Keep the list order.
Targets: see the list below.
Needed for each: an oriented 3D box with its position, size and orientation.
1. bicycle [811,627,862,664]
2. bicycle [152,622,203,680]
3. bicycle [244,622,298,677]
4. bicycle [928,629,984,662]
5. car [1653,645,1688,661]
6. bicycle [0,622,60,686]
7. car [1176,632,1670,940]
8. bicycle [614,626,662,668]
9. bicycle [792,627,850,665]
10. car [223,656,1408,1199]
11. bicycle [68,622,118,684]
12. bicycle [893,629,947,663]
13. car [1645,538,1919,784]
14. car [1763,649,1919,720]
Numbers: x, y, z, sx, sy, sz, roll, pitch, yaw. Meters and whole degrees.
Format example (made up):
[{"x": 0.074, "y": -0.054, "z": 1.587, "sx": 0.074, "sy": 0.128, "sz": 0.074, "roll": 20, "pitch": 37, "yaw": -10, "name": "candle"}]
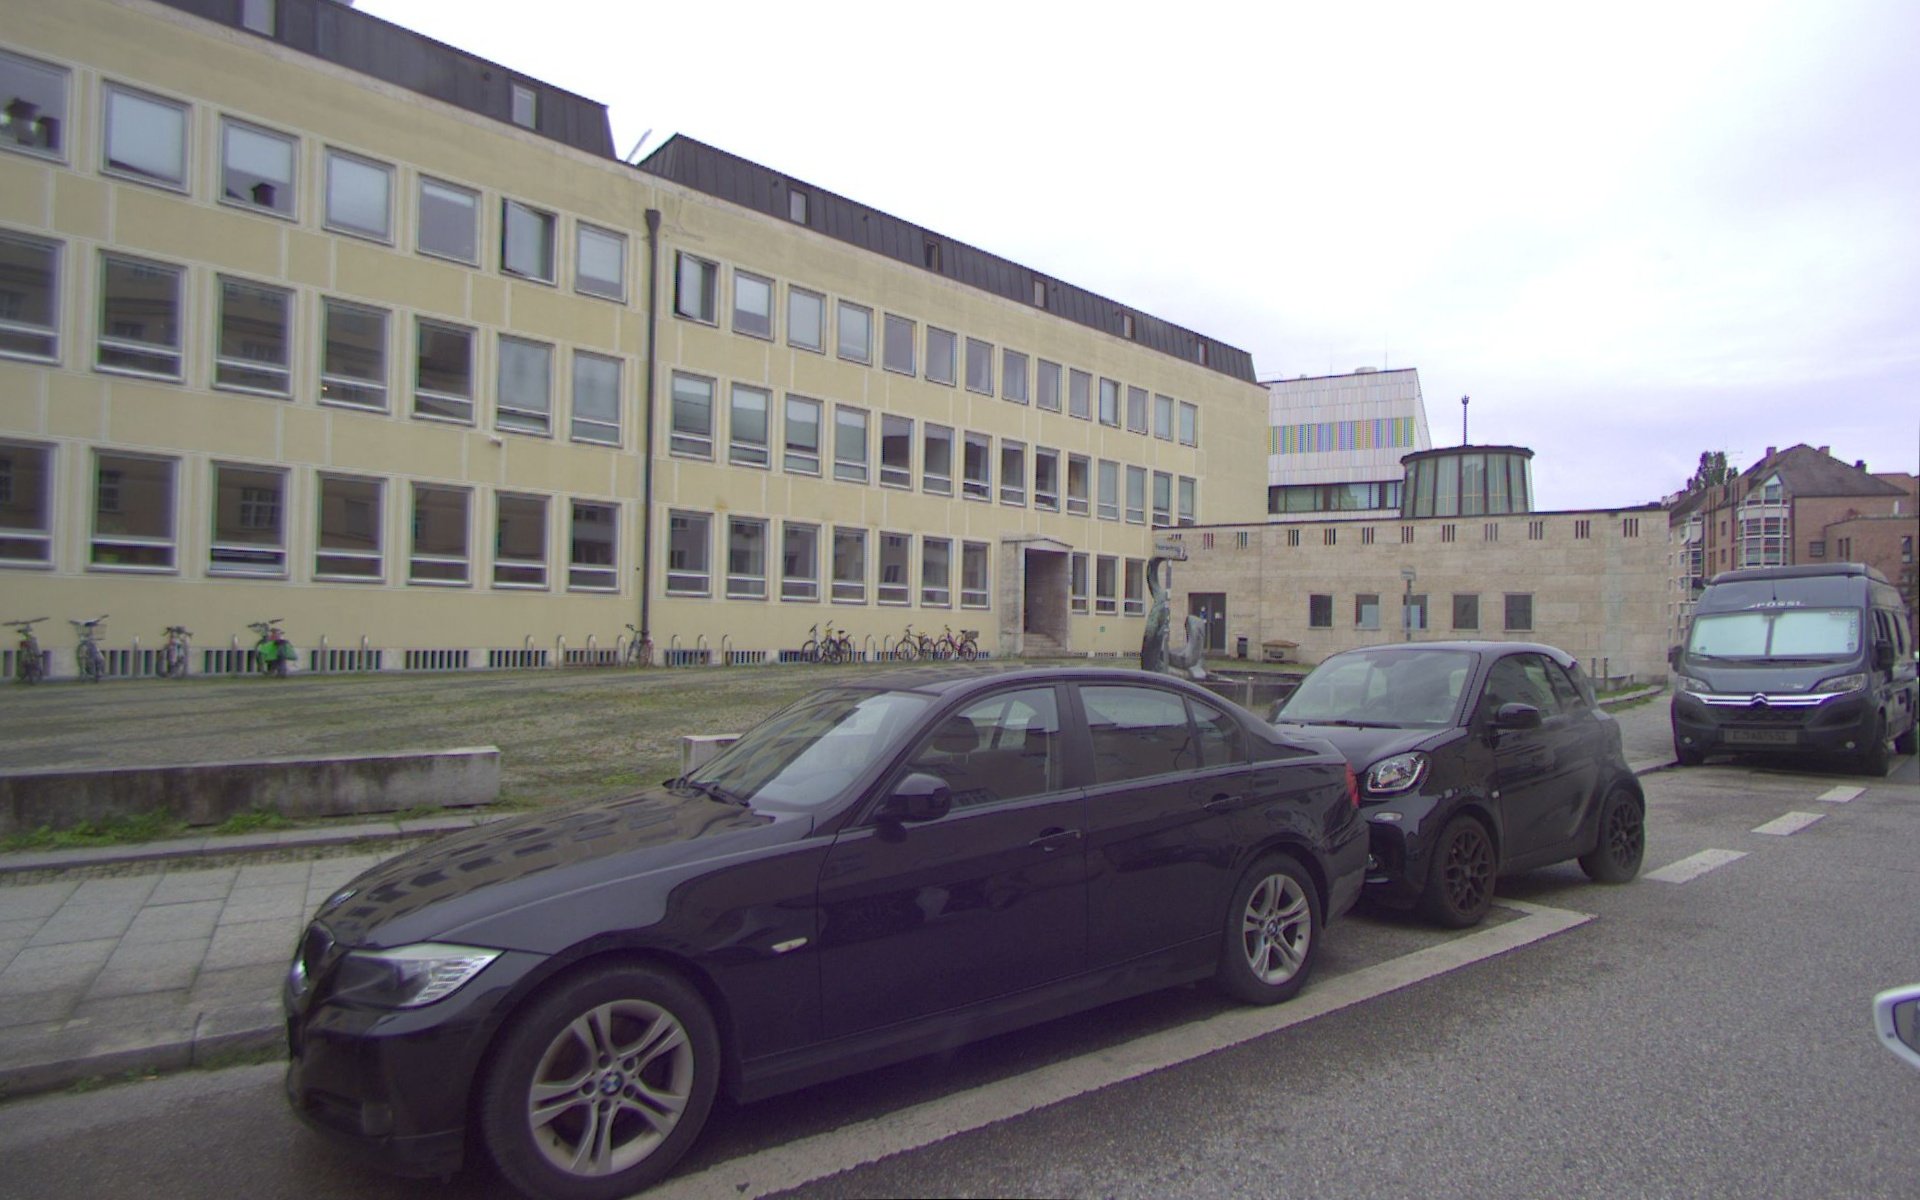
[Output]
[{"x": -3.755, "y": 1.363, "z": 30.385, "sx": 0.620, "sy": 1.028, "sz": 1.931, "roll": 2, "pitch": -1, "yaw": -39, "name": "bicycle"}, {"x": -14.976, "y": 0.954, "z": 19.208, "sx": 0.621, "sy": 1.028, "sz": 1.929, "roll": 2, "pitch": -1, "yaw": -42, "name": "bicycle"}, {"x": -13.766, "y": 0.971, "z": 20.045, "sx": 0.621, "sy": 1.028, "sz": 1.929, "roll": 2, "pitch": -1, "yaw": -42, "name": "bicycle"}, {"x": -0.140, "y": 1.478, "z": 33.048, "sx": 1.924, "sy": 1.028, "sz": 0.622, "roll": 0, "pitch": -1, "yaw": 41, "name": "bicycle"}, {"x": 73.107, "y": 5.448, "z": 103.448, "sx": 1.777, "sy": 1.492, "sz": 4.118, "roll": 1, "pitch": -1, "yaw": 18, "name": "car"}, {"x": -16.157, "y": 0.915, "z": 17.464, "sx": 0.620, "sy": 1.028, "sz": 1.931, "roll": 2, "pitch": -1, "yaw": -39, "name": "bicycle"}, {"x": 3.043, "y": 1.003, "z": 6.530, "sx": 2.948, "sy": 1.521, "sz": 1.660, "roll": 2, "pitch": -4, "yaw": -35, "name": "car"}, {"x": -8.325, "y": 1.189, "z": 25.906, "sx": 0.619, "sy": 1.028, "sz": 1.934, "roll": 2, "pitch": -1, "yaw": -35, "name": "bicycle"}, {"x": -4.097, "y": 1.339, "z": 29.524, "sx": 0.621, "sy": 1.028, "sz": 1.927, "roll": 2, "pitch": -2, "yaw": -45, "name": "bicycle"}, {"x": -0.235, "y": 0.945, "z": 4.119, "sx": 4.411, "sy": 1.424, "sz": 1.788, "roll": 2, "pitch": -4, "yaw": -35, "name": "car"}, {"x": -15.652, "y": 0.931, "z": 18.126, "sx": 0.621, "sy": 1.028, "sz": 1.929, "roll": 2, "pitch": -1, "yaw": -42, "name": "bicycle"}, {"x": -1.307, "y": 1.465, "z": 32.255, "sx": 0.621, "sy": 1.028, "sz": 1.928, "roll": 2, "pitch": -1, "yaw": -43, "name": "bicycle"}, {"x": 11.486, "y": 0.779, "z": 13.819, "sx": 5.975, "sy": 2.676, "sz": 2.144, "roll": 2, "pitch": -3, "yaw": -43, "name": "car"}, {"x": 20.644, "y": 1.869, "z": 22.302, "sx": 4.003, "sy": 1.500, "sz": 1.687, "roll": -2, "pitch": -5, "yaw": 11, "name": "car"}]
